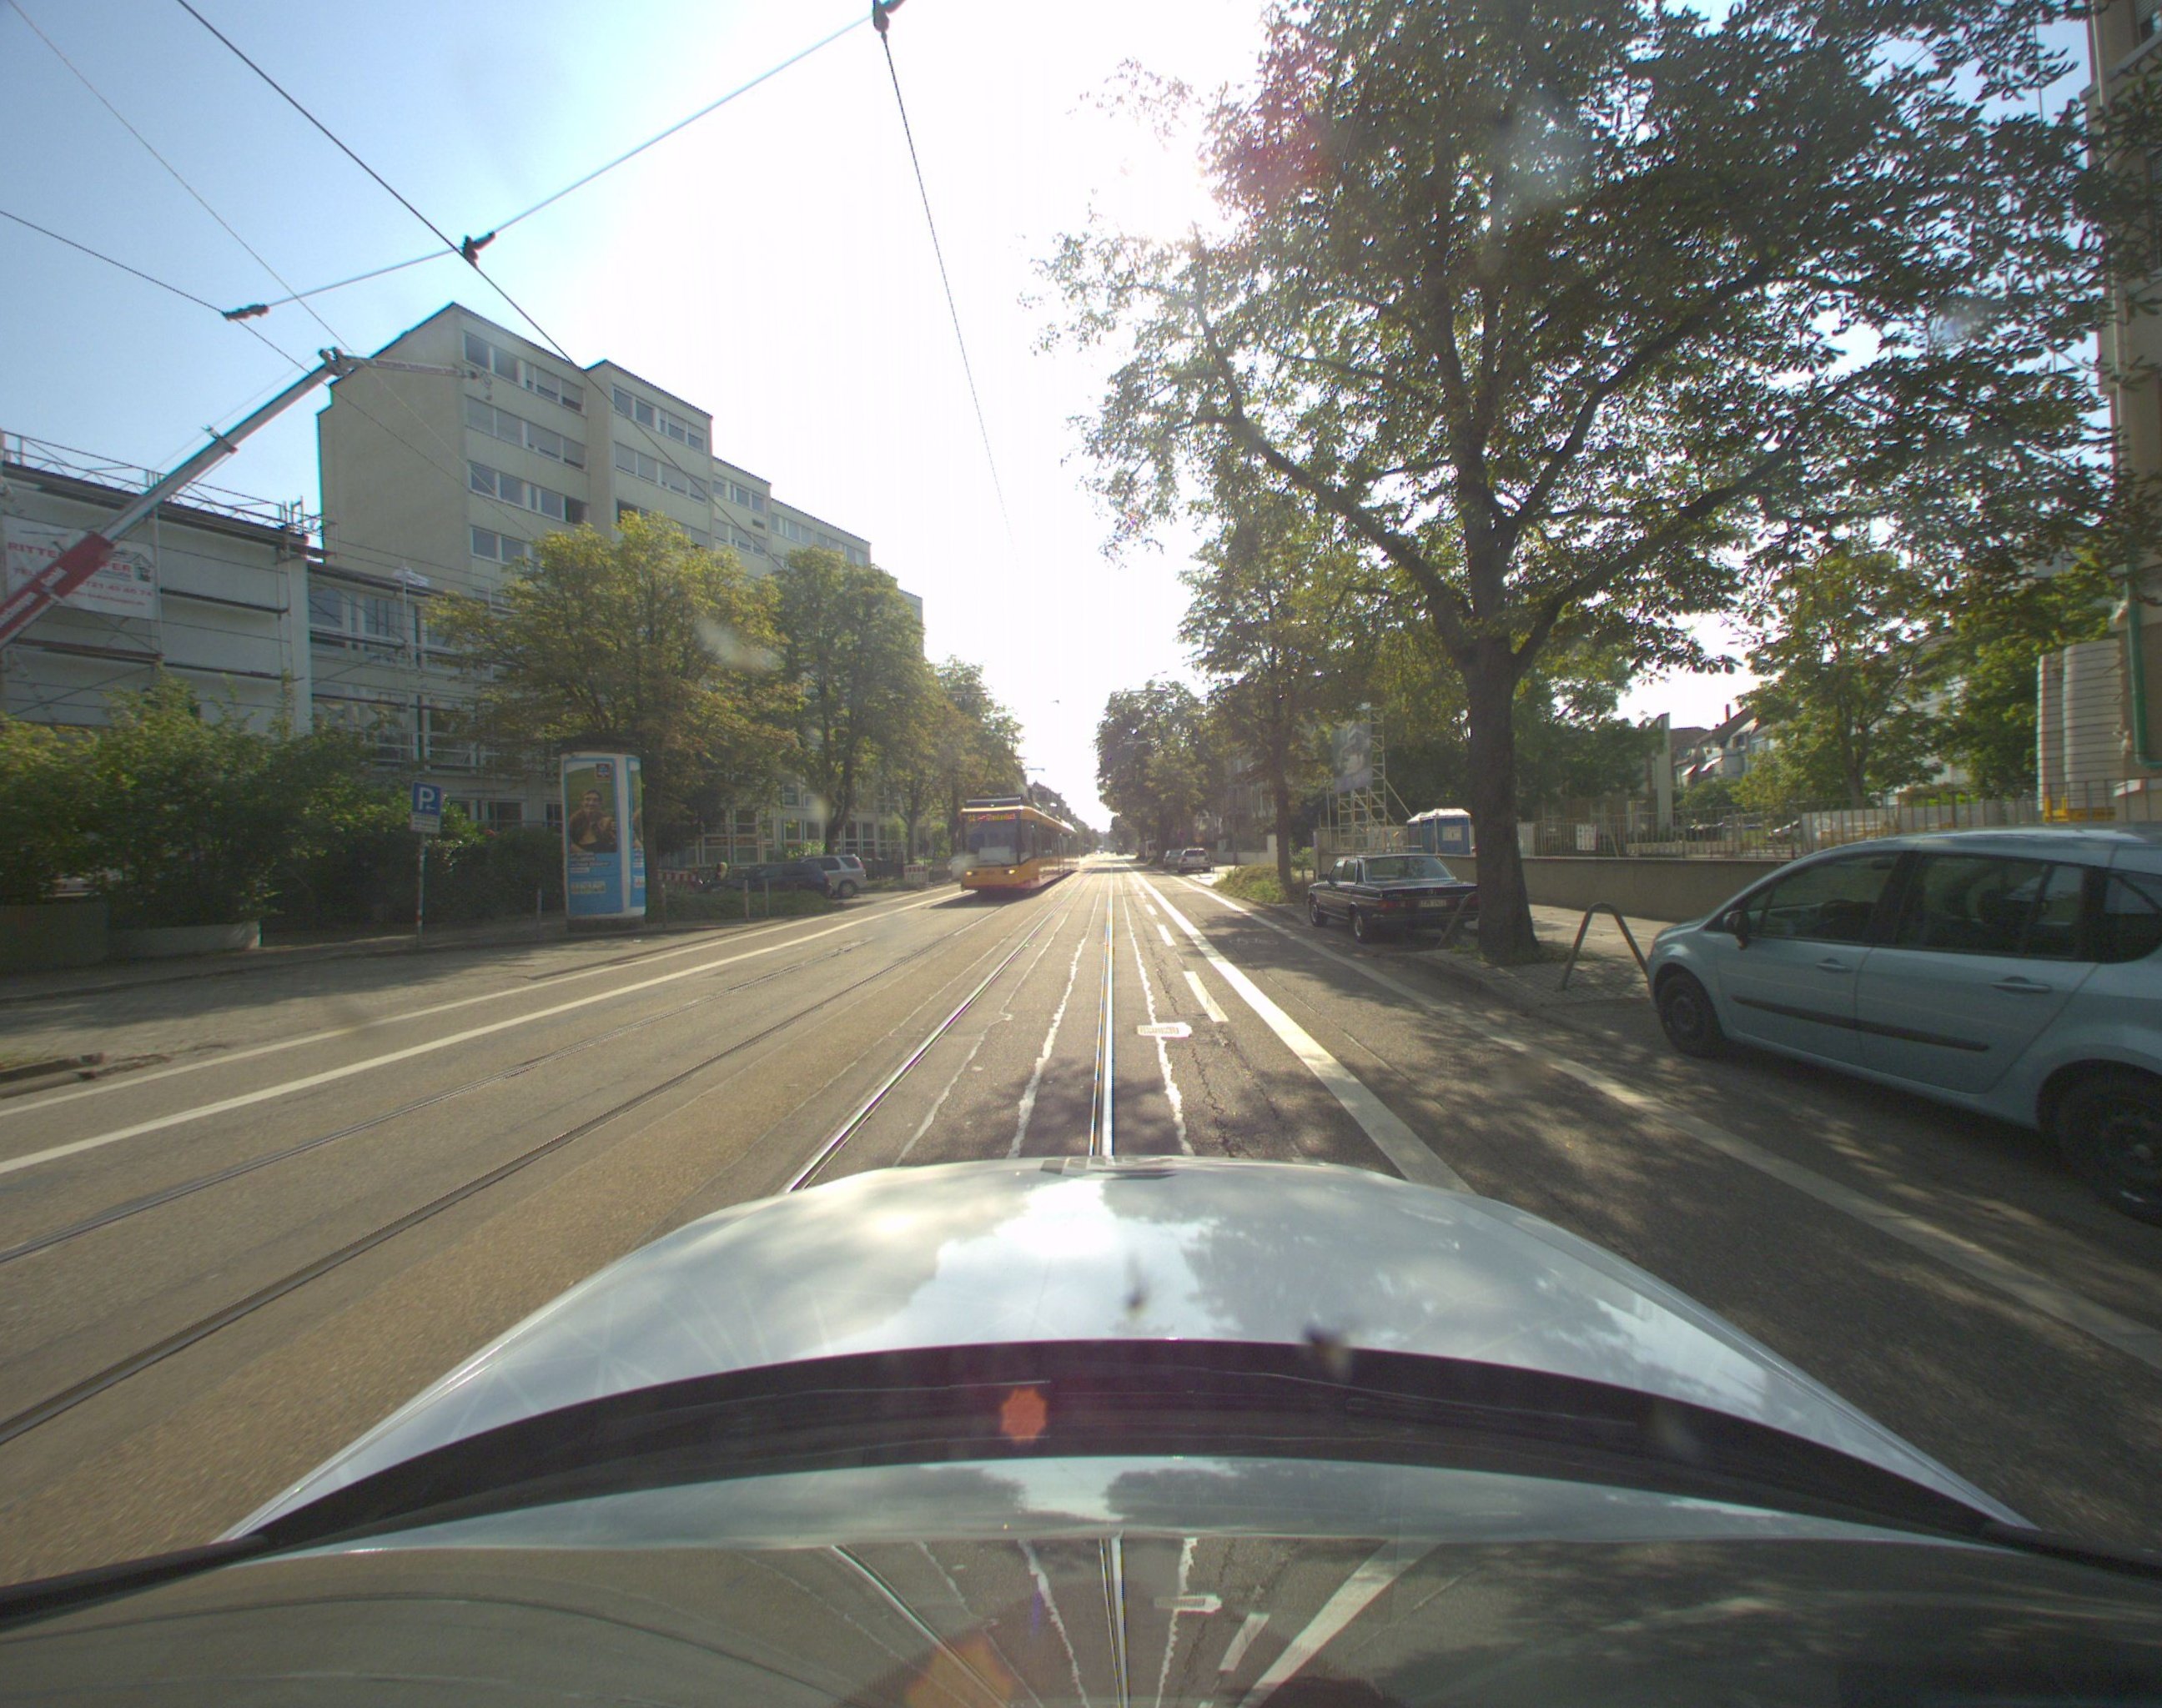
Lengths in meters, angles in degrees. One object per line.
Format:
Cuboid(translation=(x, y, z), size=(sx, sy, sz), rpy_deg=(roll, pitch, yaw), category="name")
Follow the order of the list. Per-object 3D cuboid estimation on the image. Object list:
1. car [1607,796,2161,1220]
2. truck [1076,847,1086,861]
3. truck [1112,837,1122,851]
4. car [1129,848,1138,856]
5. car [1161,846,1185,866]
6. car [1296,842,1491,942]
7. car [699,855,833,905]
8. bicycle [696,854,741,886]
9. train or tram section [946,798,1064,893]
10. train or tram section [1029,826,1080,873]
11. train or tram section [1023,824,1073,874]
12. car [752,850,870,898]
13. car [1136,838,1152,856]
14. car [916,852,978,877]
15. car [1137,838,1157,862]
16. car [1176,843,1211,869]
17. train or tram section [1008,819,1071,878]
Cuboid(translation=(5.029, 0.540, 4.613), size=(1.658, 1.616, 3.879), rpy_deg=(-3, 1, 3), category="car")
Cuboid(translation=(0.084, -0.081, 178.492), size=(1.986, 2.975, 4.572), rpy_deg=(-2, 0, 2), category="truck")
Cuboid(translation=(7.882, -2.189, 178.294), size=(1.855, 3.130, 4.352), rpy_deg=(-2, 0, 0), category="truck")
Cuboid(translation=(12.823, -0.477, 198.442), size=(1.985, 1.838, 4.004), rpy_deg=(-2, 0, 3), category="car")
Cuboid(translation=(6.919, 0.121, 61.447), size=(1.588, 1.418, 3.637), rpy_deg=(-2, 0, 3), category="car")
Cuboid(translation=(5.265, 0.559, 14.472), size=(1.747, 1.377, 4.721), rpy_deg=(-4, 0, 2), category="car")
Cuboid(translation=(-10.520, 0.836, 27.296), size=(3.816, 1.442, 1.674), rpy_deg=(-2, 0, -41), category="car")
Cuboid(translation=(-16.159, 0.711, 36.237), size=(2.401, 1.380, 0.590), rpy_deg=(-2, 0, 34), category="bicycle")
Cuboid(translation=(-2.551, -0.274, 33.365), size=(2.718, 2.894, 15.463), rpy_deg=(-2, 0, 2), category="train or tram section")
Cuboid(translation=(-1.667, -0.272, 56.623), size=(2.670, 2.861, 10.549), rpy_deg=(-2, 0, 2), category="train or tram section")
Cuboid(translation=(-1.945, -0.283, 49.509), size=(2.695, 2.856, 3.651), rpy_deg=(-2, 0, 2), category="train or tram section")
Cuboid(translation=(-10.151, 0.726, 30.734), size=(3.817, 1.621, 1.723), rpy_deg=(-2, 0, -43), category="car")
Cuboid(translation=(9.002, -0.984, 116.346), size=(1.996, 2.475, 4.480), rpy_deg=(-2, 0, 3), category="car")
Cuboid(translation=(-8.533, 0.645, 52.112), size=(1.550, 1.443, 3.787), rpy_deg=(-2, 0, 42), category="car")
Cuboid(translation=(7.172, -0.432, 89.385), size=(1.996, 2.490, 4.480), rpy_deg=(-2, 0, 3), category="car")
Cuboid(translation=(6.545, 0.129, 47.686), size=(1.683, 1.418, 3.637), rpy_deg=(-2, 0, 3), category="car")
Cuboid(translation=(-2.139, -0.277, 44.397), size=(2.718, 2.849, 6.547), rpy_deg=(-2, 0, 2), category="train or tram section")
